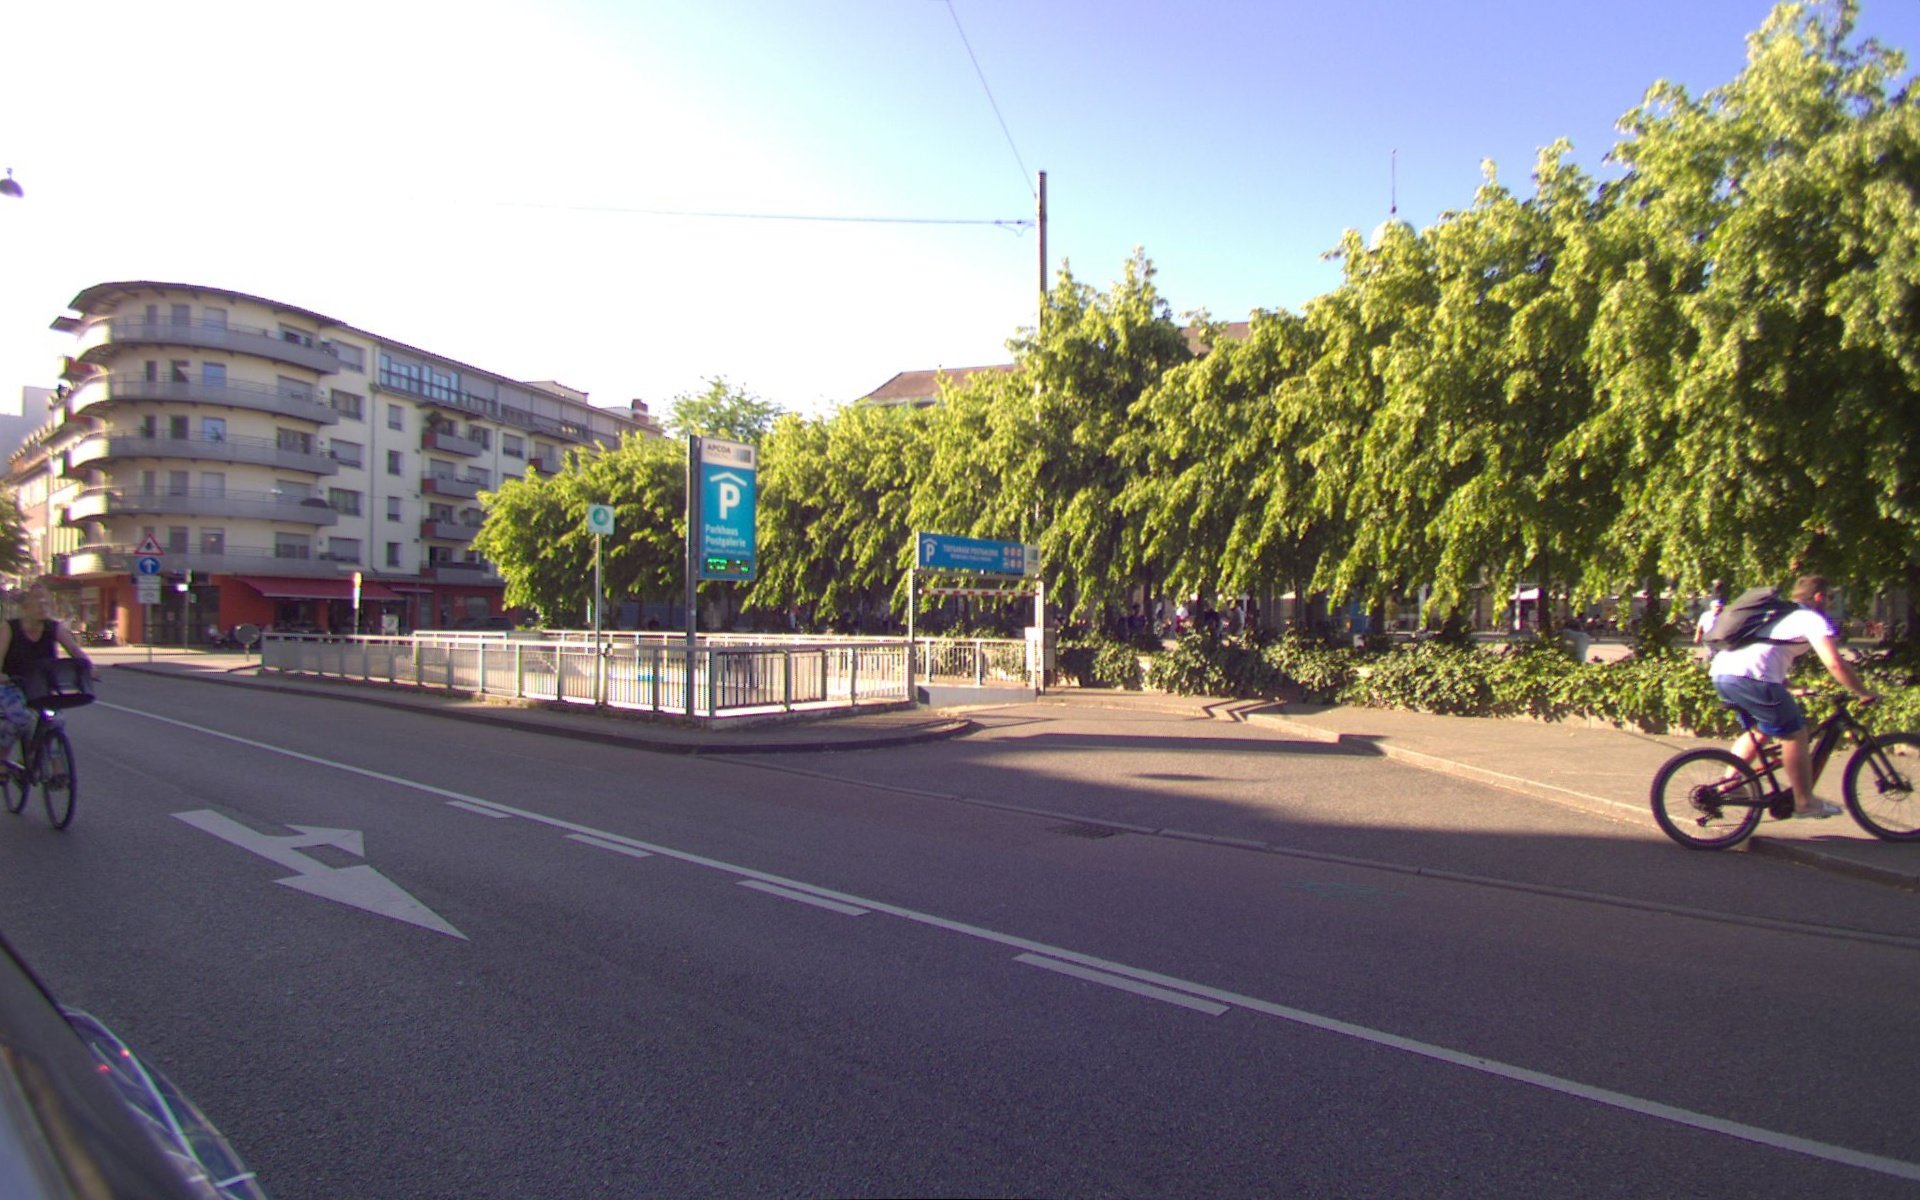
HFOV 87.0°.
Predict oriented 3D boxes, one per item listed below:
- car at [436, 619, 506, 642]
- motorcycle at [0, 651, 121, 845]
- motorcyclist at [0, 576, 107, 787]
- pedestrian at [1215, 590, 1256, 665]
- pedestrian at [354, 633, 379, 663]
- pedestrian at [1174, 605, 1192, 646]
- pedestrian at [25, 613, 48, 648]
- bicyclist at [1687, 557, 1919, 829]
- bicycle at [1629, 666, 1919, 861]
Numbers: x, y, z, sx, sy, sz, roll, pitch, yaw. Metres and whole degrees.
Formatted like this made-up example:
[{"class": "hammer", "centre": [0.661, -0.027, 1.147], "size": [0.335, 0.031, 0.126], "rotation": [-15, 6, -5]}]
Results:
[{"class": "car", "centre": [-30.502, 1.885, 63.216], "size": [1.742, 1.311, 3.977], "rotation": [-1, -1, 17]}, {"class": "motorcycle", "centre": [-6.818, 1.008, 7.440], "size": [1.905, 1.193, 0.711], "rotation": [-1, 0, 41]}, {"class": "motorcyclist", "centre": [-6.759, 0.567, 7.388], "size": [0.705, 1.457, 0.713], "rotation": [-1, 0, 41]}, {"class": "pedestrian", "centre": [6.307, 0.619, 23.156], "size": [0.645, 1.661, 0.626], "rotation": [-1, 0, -35]}, {"class": "pedestrian", "centre": [-32.525, 2.627, 55.470], "size": [0.877, 1.607, 0.861], "rotation": [-1, 0, 2]}, {"class": "pedestrian", "centre": [9.461, 1.064, 42.917], "size": [0.604, 1.734, 0.642], "rotation": [-1, 0, 21]}, {"class": "pedestrian", "centre": [-53.875, 1.763, 59.047], "size": [0.888, 2.029, 0.850], "rotation": [-1, 0, 40]}, {"class": "bicyclist", "centre": [5.621, 0.591, 6.773], "size": [0.759, 1.646, 0.884], "rotation": [-5, -1, 7]}, {"class": "bicycle", "centre": [5.783, 1.065, 6.758], "size": [2.037, 1.093, 0.640], "rotation": [-5, -1, 7]}]
